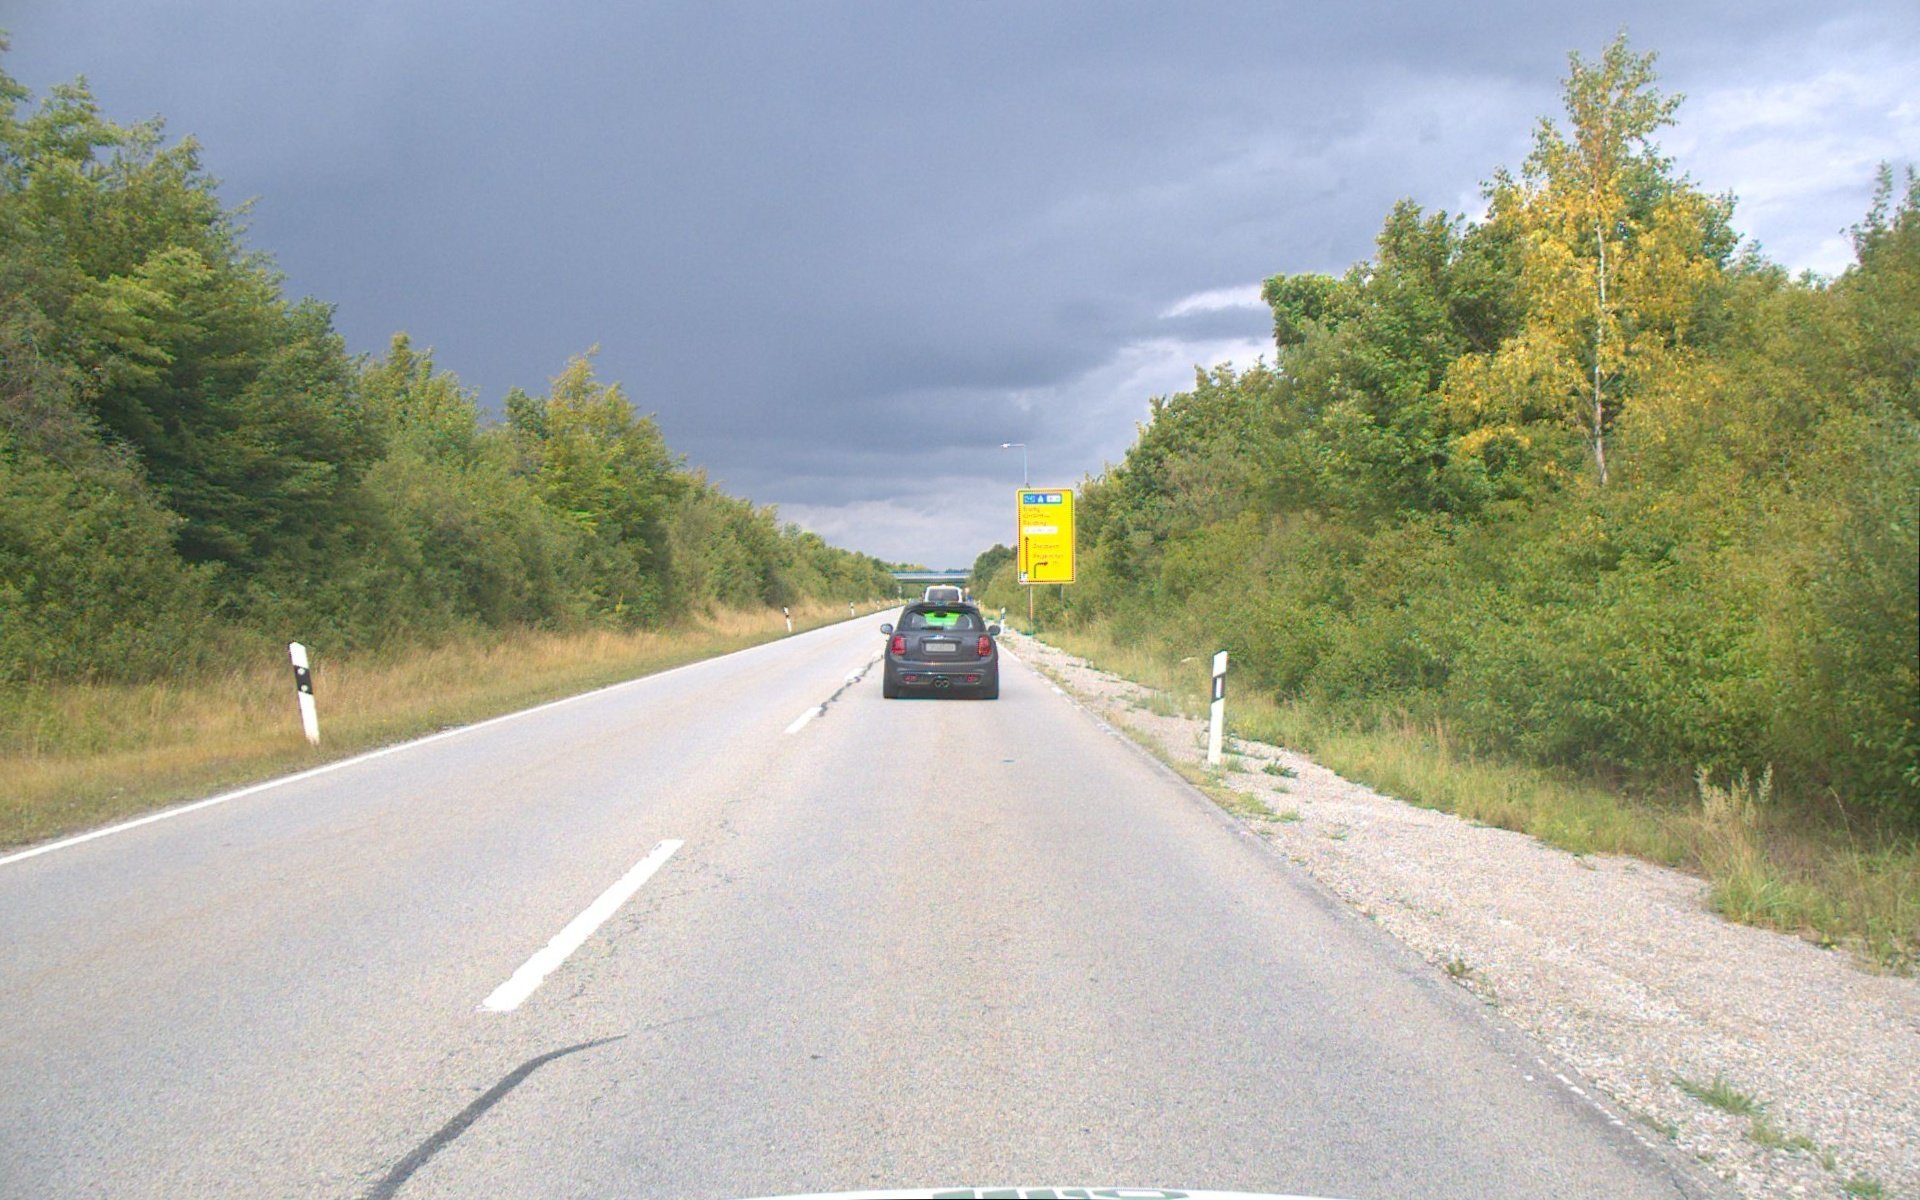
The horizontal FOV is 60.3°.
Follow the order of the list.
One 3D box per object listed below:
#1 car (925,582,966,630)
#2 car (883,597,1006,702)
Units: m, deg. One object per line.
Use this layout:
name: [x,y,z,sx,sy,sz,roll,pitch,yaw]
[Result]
car: [-0.666,0.272,74.931,1.782,2.090,3.999,1,0,-1]
car: [-0.255,0.703,25.427,1.721,1.452,3.999,1,0,-1]
